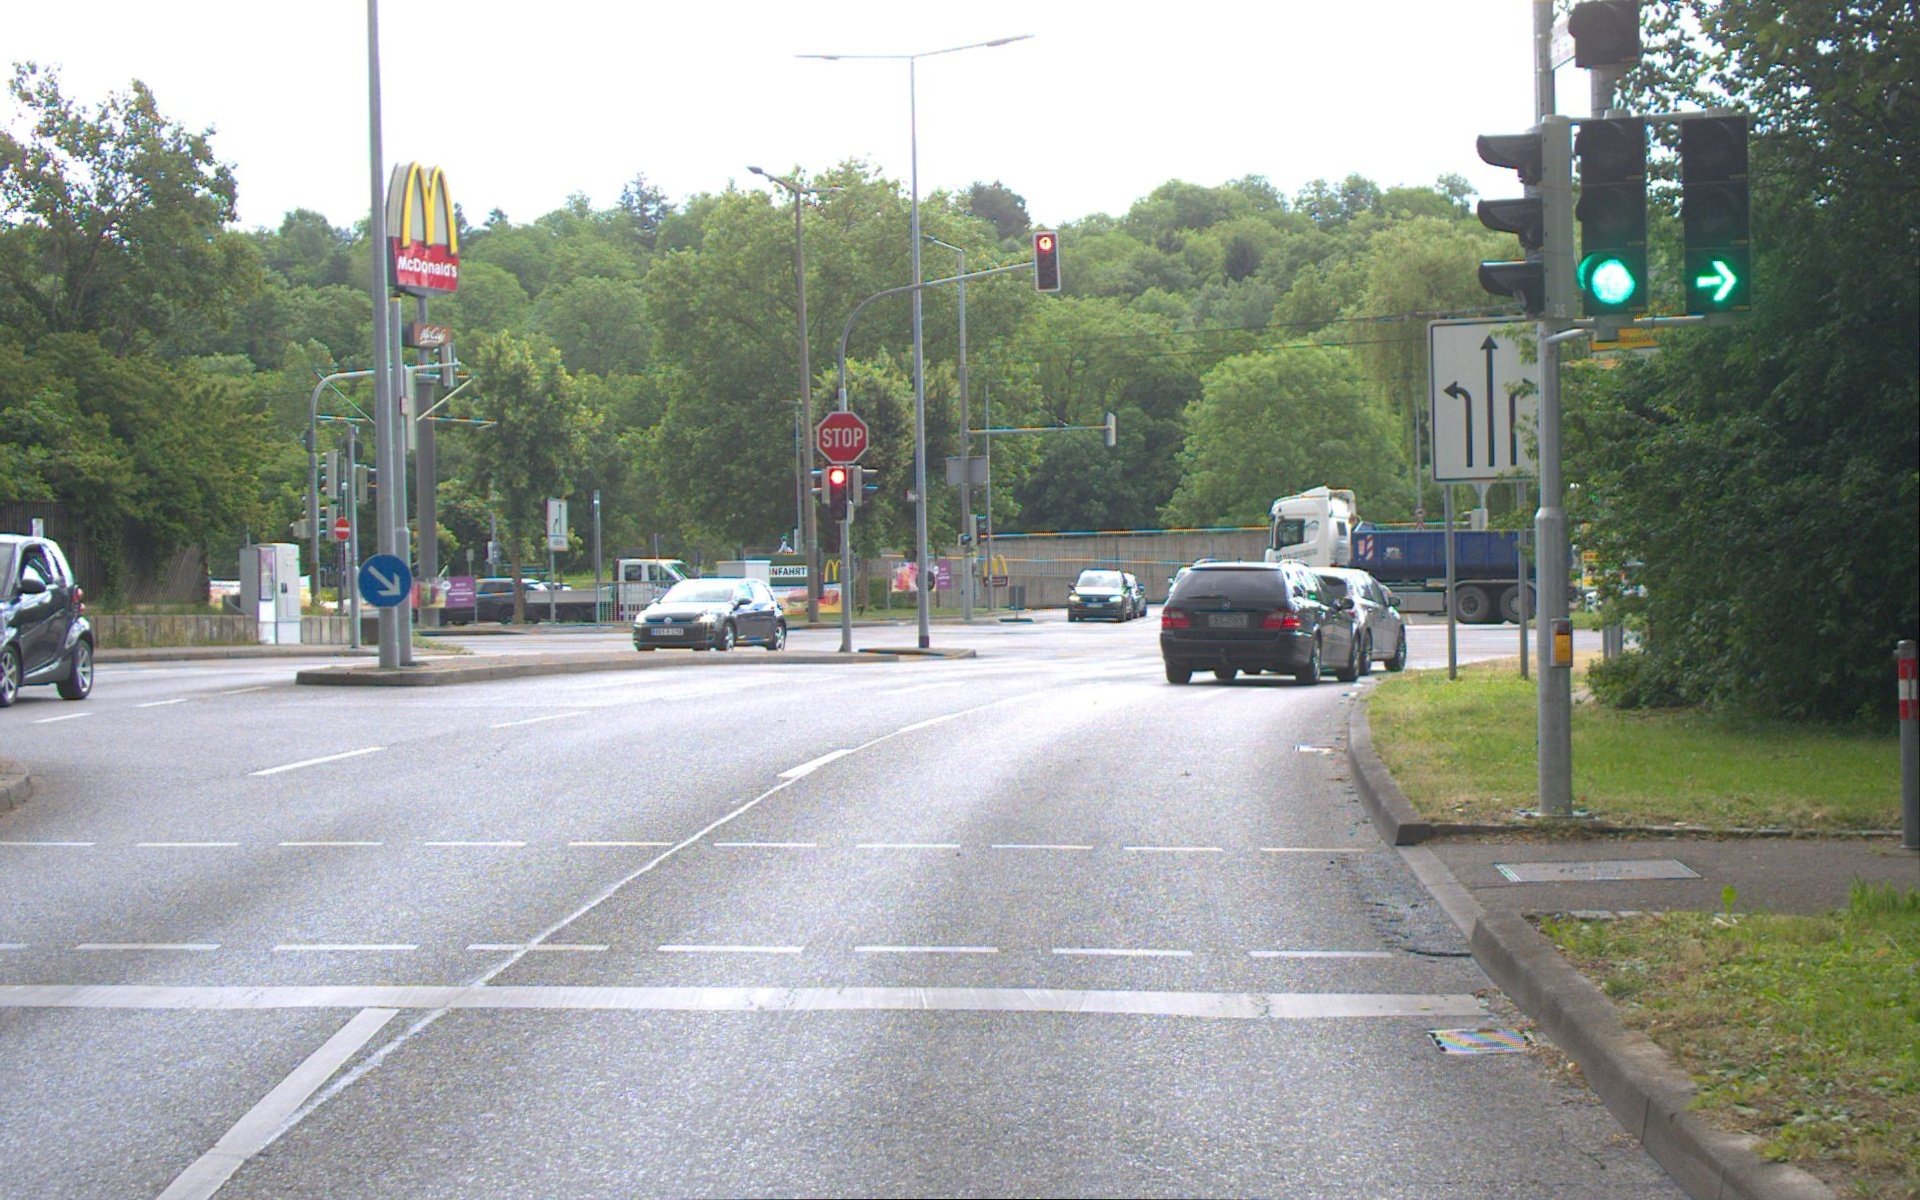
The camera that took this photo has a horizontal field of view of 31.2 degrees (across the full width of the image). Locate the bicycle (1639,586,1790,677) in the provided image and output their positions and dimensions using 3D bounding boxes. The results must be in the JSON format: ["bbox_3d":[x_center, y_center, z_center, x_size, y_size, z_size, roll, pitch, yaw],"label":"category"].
[{"bbox_3d":[9.315,0.387,42.438,1.780,1.107,0.455,-1,-1,18],"label":"bicycle"}]

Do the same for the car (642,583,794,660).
[{"bbox_3d":[-4.440,0.372,63.713,1.678,1.361,4.309,0,0,12],"label":"car"}]

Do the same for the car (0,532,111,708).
[{"bbox_3d":[-9.086,0.150,31.654,1.568,1.522,3.189,-1,1,3],"label":"car"}]

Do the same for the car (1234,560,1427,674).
[{"bbox_3d":[5.302,0.216,48.771,1.728,1.525,4.144,-1,0,20],"label":"car"}]

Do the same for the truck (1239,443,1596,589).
[{"bbox_3d":[12.582,-2.247,94.681,9.111,3.575,3.215,-2,-1,24],"label":"truck"}]

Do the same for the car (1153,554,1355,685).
[{"bbox_3d":[3.638,0.209,41.838,1.823,1.504,4.572,0,0,13],"label":"car"}]
